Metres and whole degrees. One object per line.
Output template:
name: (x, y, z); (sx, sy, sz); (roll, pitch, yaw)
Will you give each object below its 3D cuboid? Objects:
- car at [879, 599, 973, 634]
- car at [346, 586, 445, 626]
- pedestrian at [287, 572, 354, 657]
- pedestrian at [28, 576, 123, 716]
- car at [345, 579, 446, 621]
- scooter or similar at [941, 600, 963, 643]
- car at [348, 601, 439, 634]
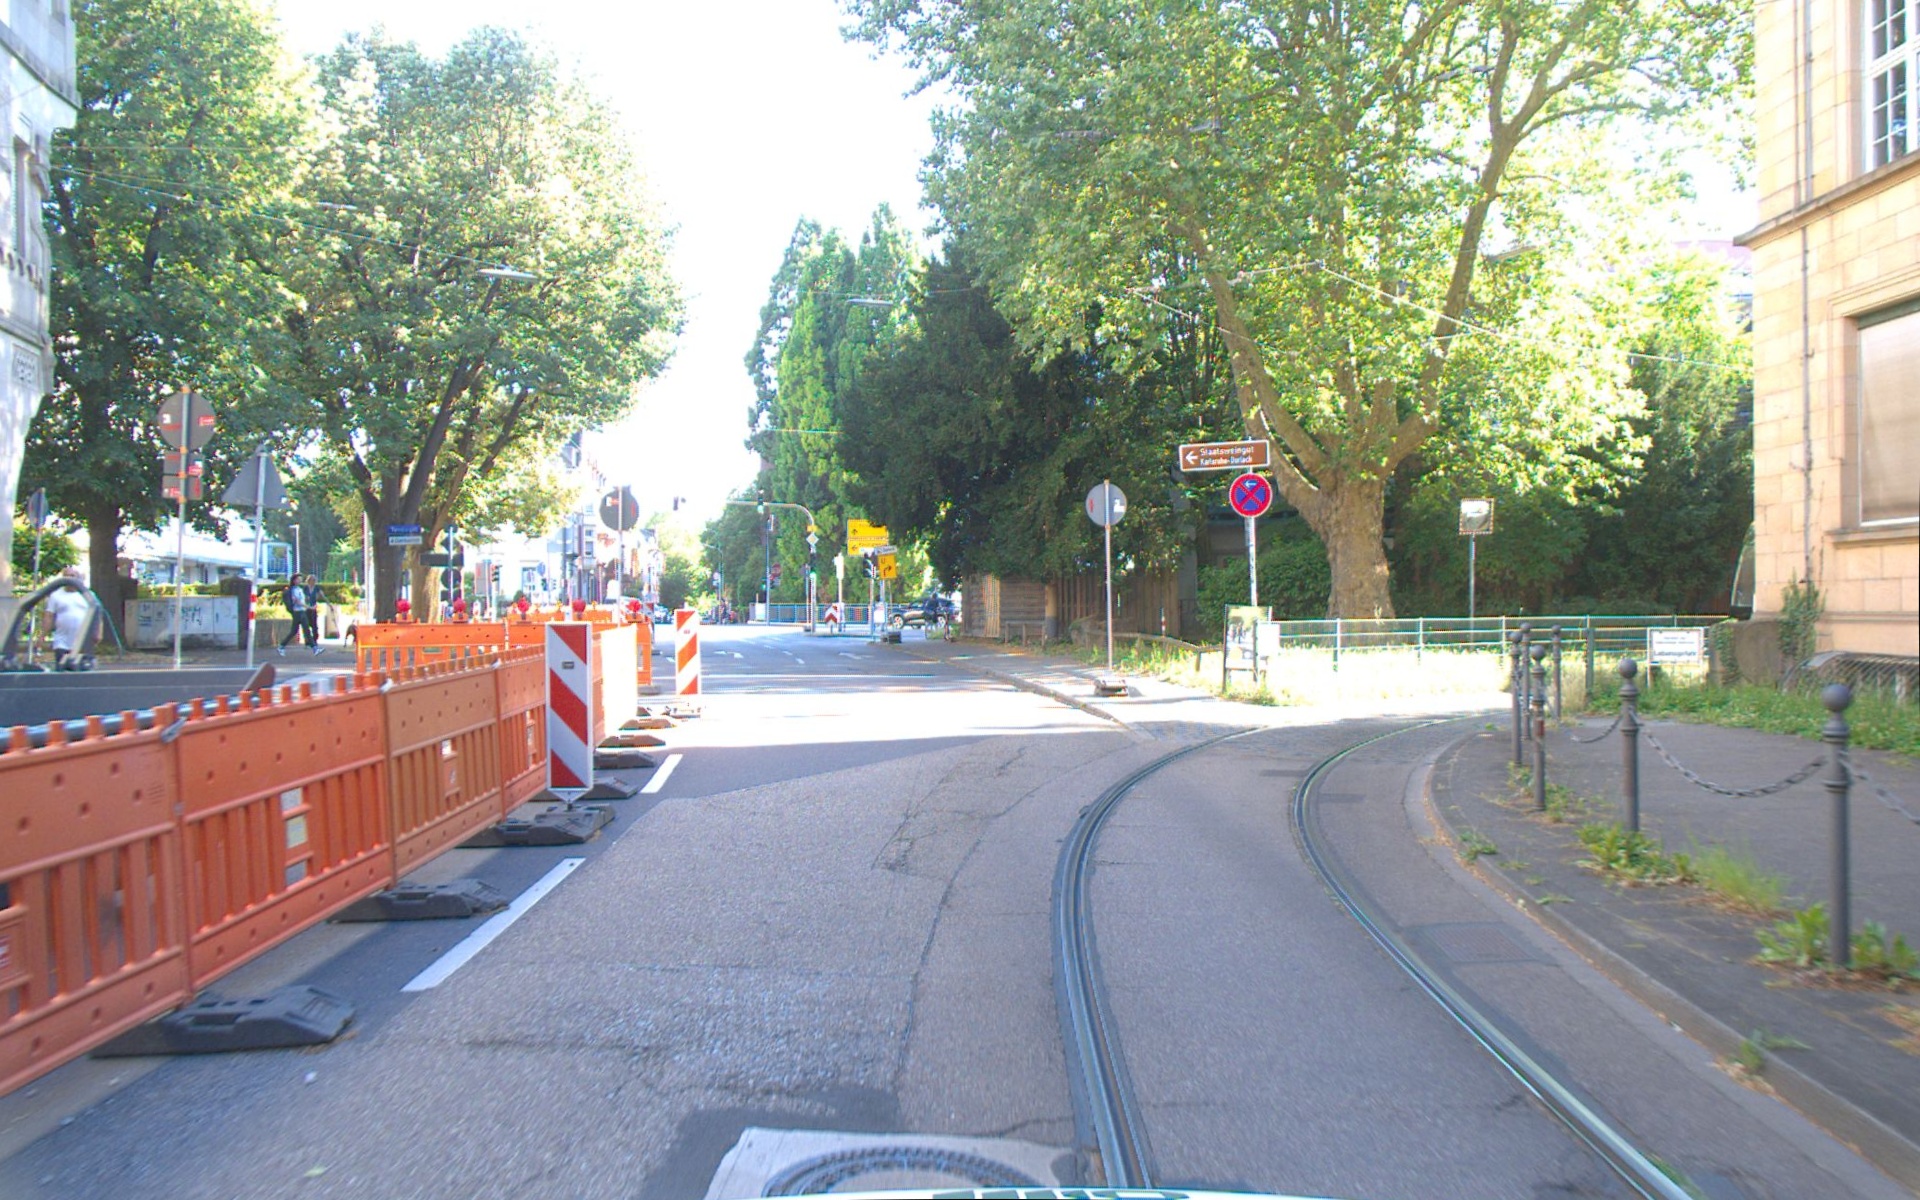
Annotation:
car: (-1.797, 0.863, 86.034); (4.567, 1.699, 1.994); (0, -3, 34)
car: (-27.579, 0.293, 80.895); (4.234, 1.884, 1.996); (1, 0, -9)
pedestrian: (-13.754, 0.304, 35.619); (1.022, 1.812, 1.191); (0, 0, -4)
pedestrian: (-10.565, 0.542, 19.781); (0.808, 1.631, 0.913); (1, 0, -18)
car: (-28.411, 0.018, 83.440); (4.588, 1.999, 2.110); (1, 0, -14)
scooter or similar: (-0.239, 0.634, 49.425); (0.430, 1.223, 1.256); (-3, 0, -8)
car: (-26.641, 0.826, 77.875); (3.926, 1.505, 1.991); (1, 0, -16)
